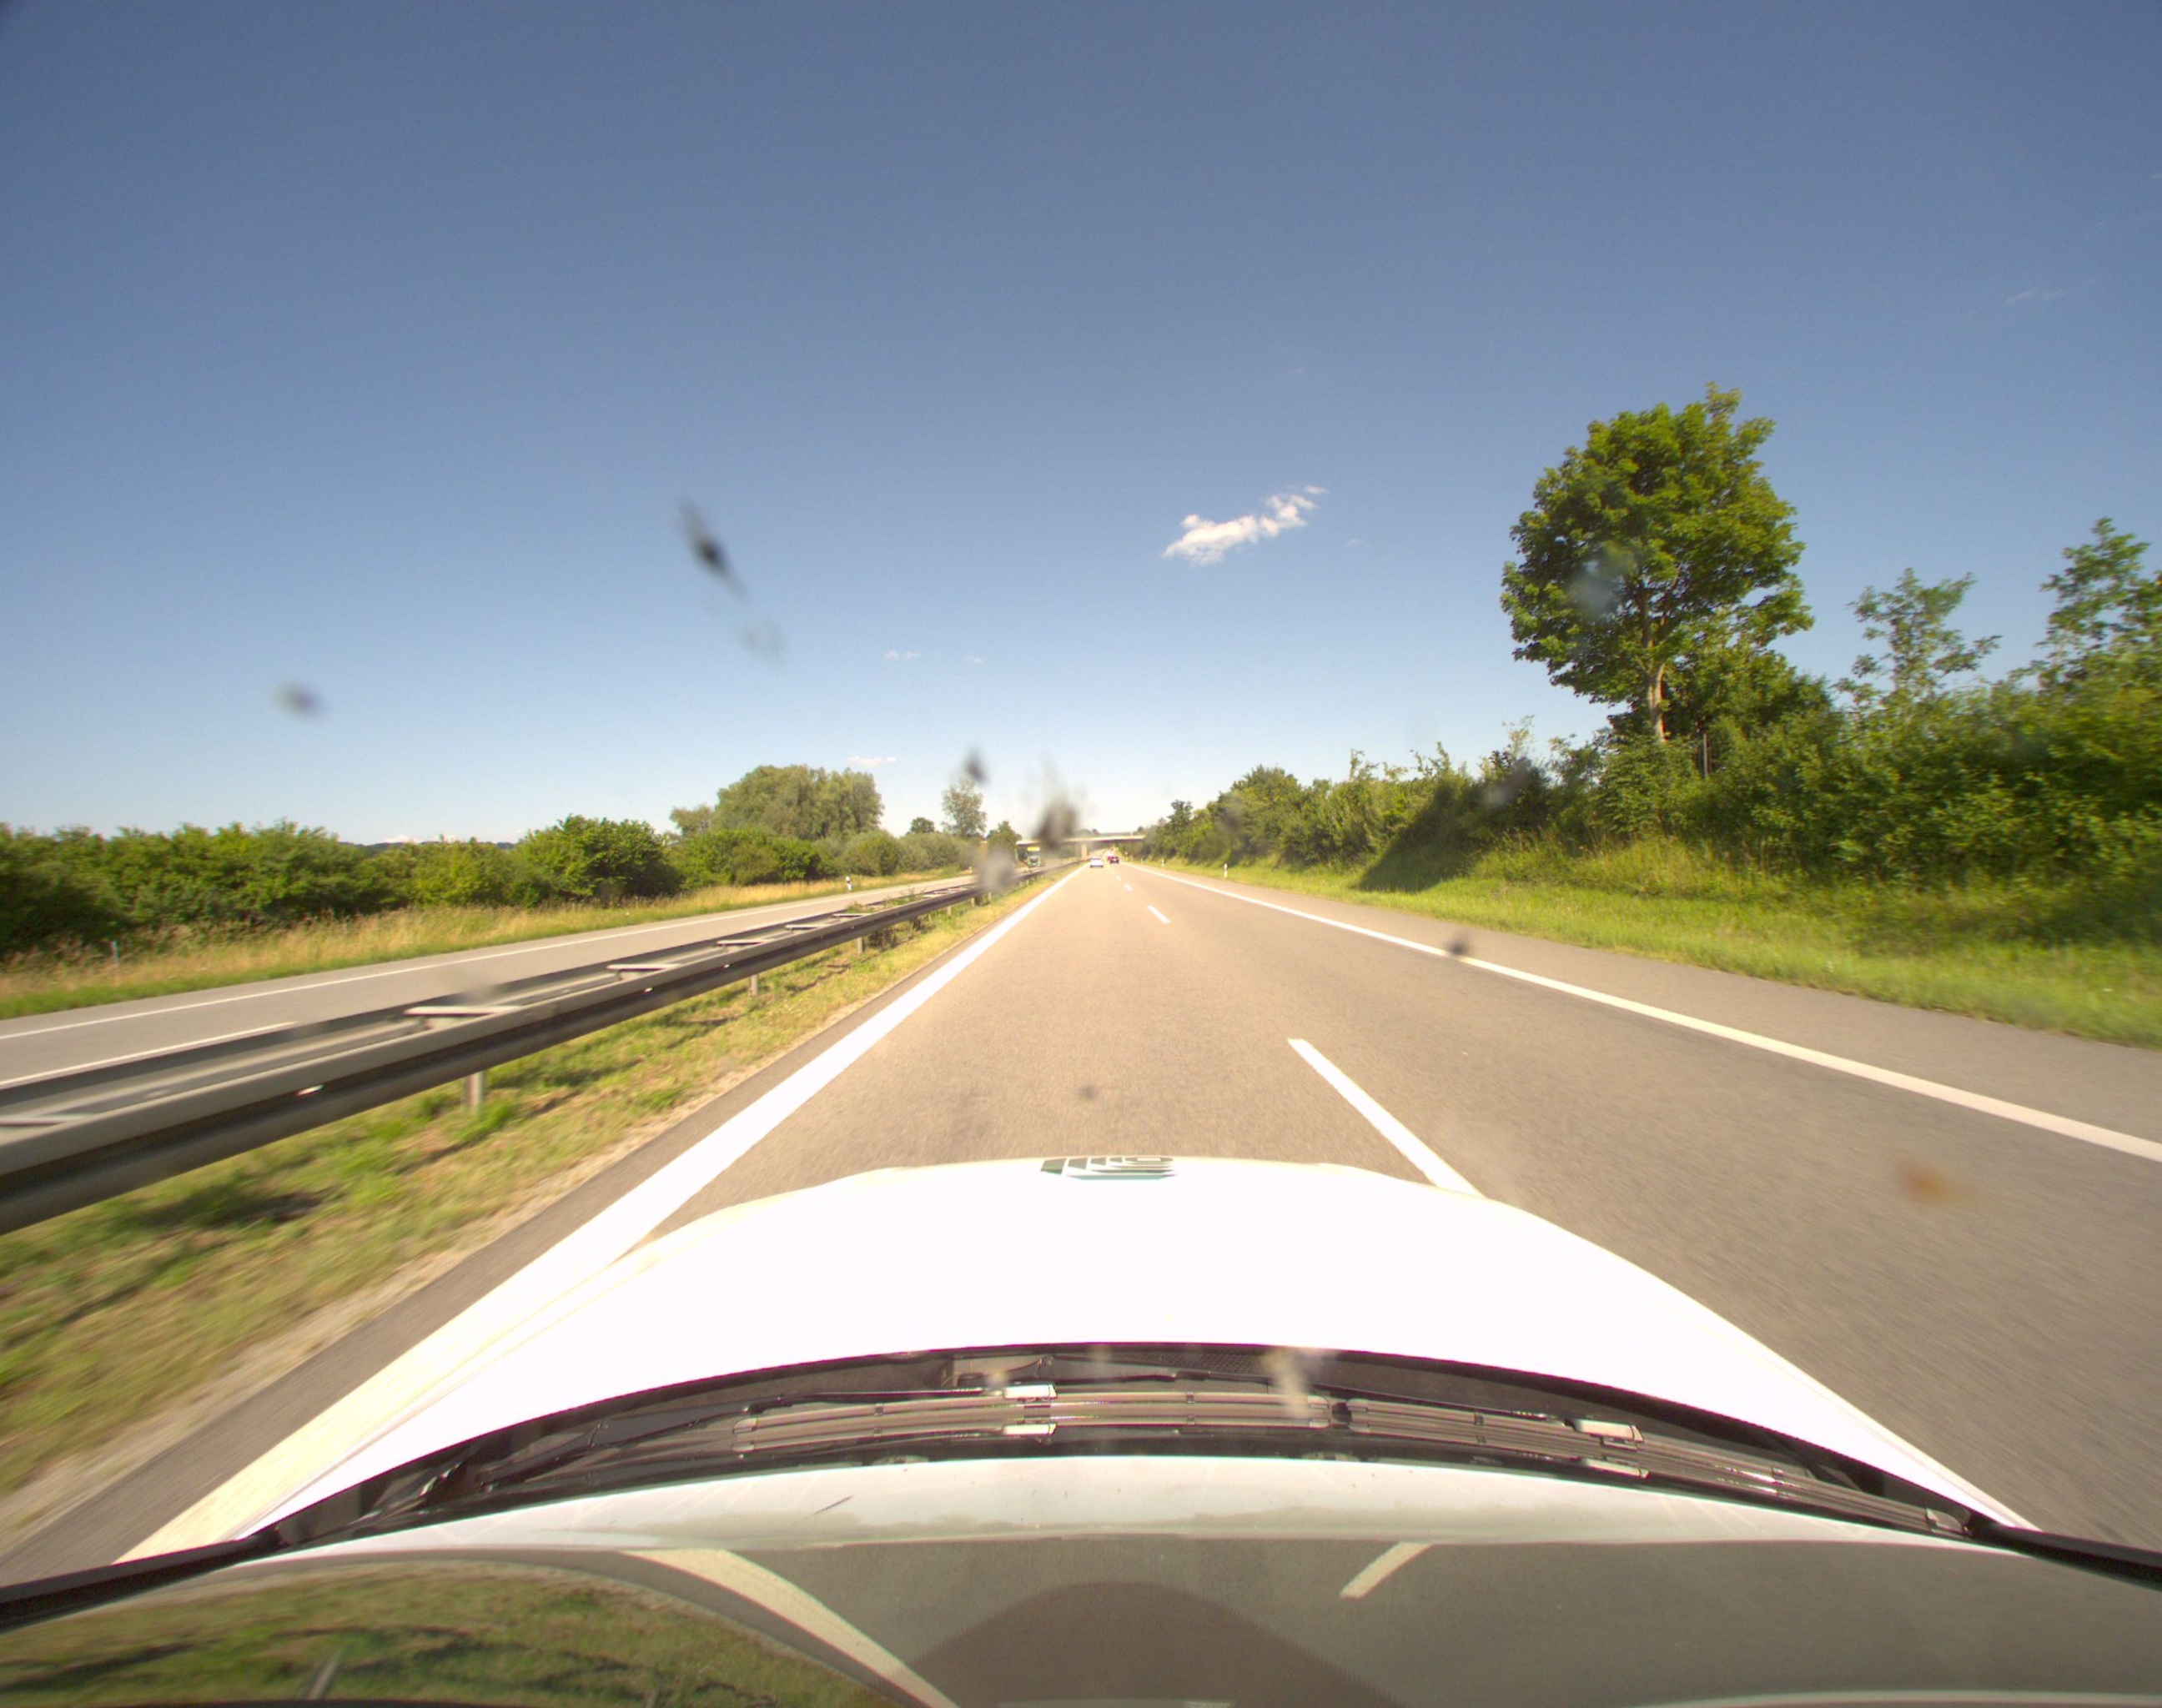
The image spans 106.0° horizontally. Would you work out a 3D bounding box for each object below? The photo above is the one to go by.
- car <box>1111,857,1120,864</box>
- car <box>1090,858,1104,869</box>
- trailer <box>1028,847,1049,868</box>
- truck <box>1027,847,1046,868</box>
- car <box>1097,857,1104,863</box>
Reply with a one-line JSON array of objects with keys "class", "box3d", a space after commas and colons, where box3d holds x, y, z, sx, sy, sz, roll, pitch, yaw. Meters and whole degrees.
[{"class": "car", "box3d": [6.914, 1.298, 163.714, 1.836, 1.520, 4.001, 0, 0, 1]}, {"class": "car", "box3d": [2.184, 1.316, 111.014, 1.836, 1.415, 4.001, 0, 0, 1]}, {"class": "trailer", "box3d": [-8.089, 0.708, 157.564, 2.969, 3.731, 12.421, -3, -1, 1]}, {"class": "truck", "box3d": [-8.248, 0.679, 150.754, 2.945, 3.731, 5.569, -3, -1, 1]}, {"class": "car", "box3d": [5.010, 1.563, 209.643, 1.836, 1.436, 4.001, 0, 0, 1]}]
